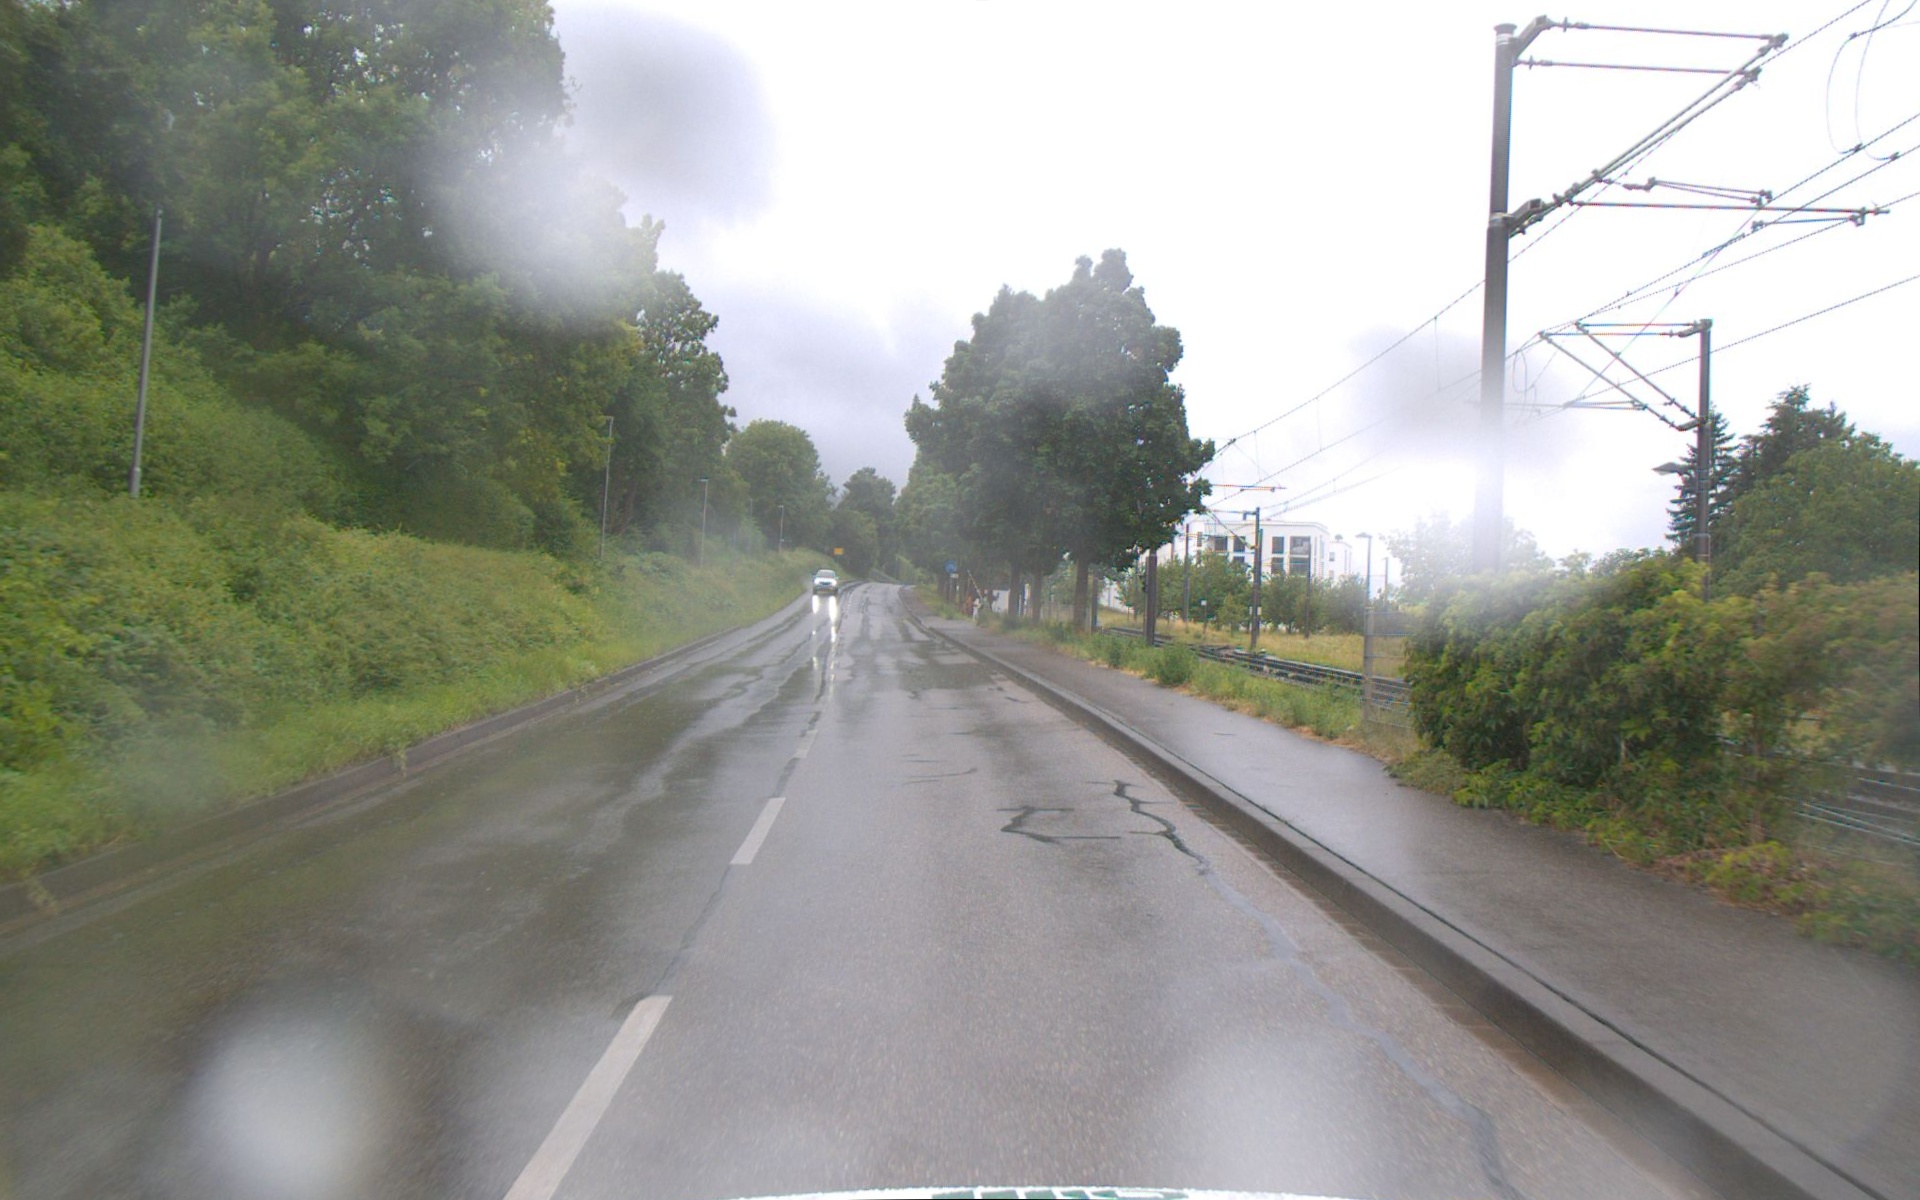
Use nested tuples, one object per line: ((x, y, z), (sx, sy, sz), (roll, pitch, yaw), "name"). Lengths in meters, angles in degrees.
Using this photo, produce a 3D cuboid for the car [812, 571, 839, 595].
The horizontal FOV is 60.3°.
((-9.794, -1.261, 120.405), (1.712, 1.640, 4.082), (3, 1, -7), "car")
